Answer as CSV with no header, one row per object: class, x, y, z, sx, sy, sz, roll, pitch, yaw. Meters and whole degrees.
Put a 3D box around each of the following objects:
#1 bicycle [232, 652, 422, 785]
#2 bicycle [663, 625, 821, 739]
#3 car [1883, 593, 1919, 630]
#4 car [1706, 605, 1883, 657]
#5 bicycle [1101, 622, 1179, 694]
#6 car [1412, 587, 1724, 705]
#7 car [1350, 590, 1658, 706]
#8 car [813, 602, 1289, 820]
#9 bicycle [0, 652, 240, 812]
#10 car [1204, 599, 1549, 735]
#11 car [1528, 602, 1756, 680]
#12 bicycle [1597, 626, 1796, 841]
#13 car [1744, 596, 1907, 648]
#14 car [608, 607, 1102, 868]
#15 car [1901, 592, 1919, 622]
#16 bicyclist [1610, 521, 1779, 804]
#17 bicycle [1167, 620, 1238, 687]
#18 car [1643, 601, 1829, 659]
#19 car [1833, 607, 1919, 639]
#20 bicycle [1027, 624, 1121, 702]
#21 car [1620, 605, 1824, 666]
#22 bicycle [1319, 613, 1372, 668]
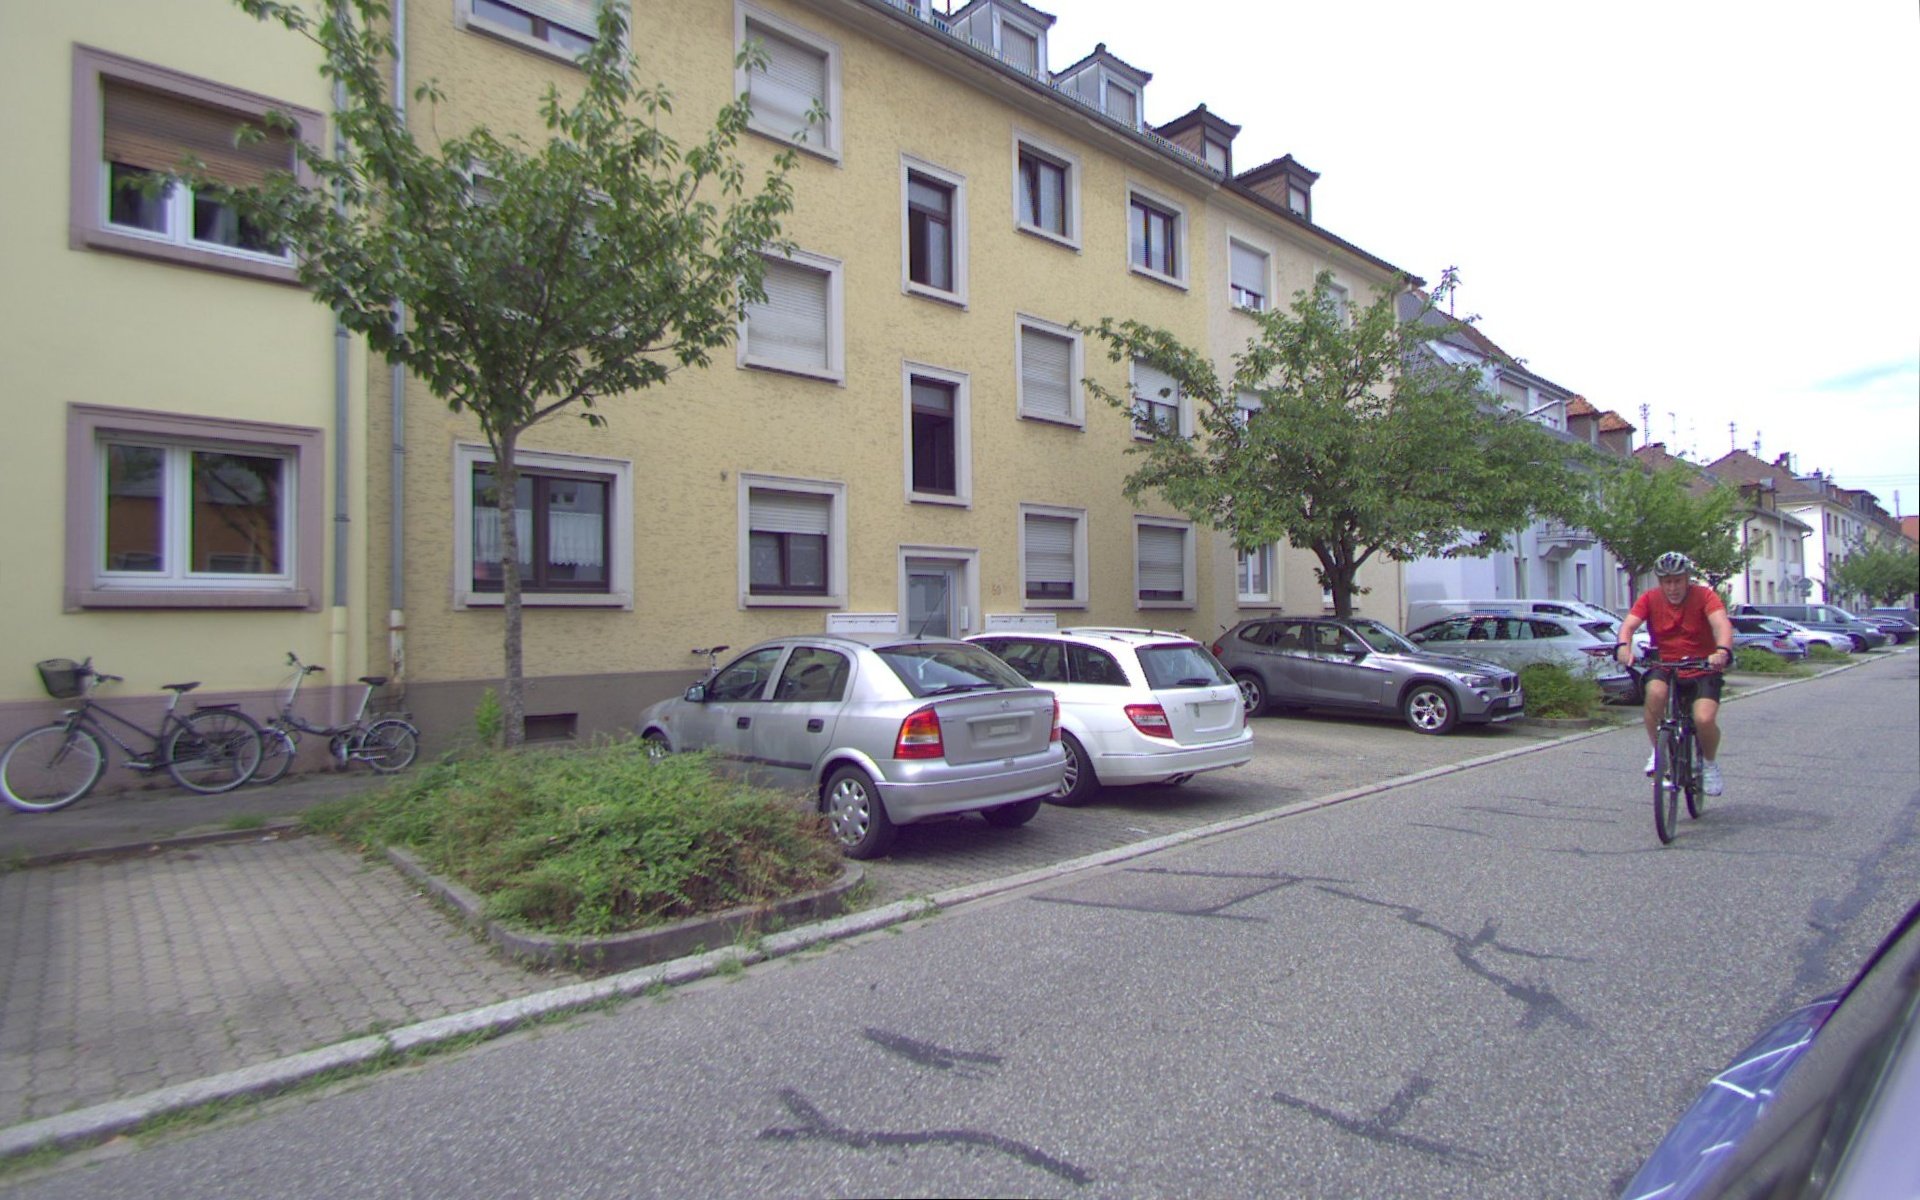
bicycle,-5.808,1.049,9.341,1.430,1.064,0.451,0,1,-44
bicycle,-2.599,0.945,12.209,1.845,1.214,0.586,0,1,-44
car,49.930,0.609,53.248,3.385,1.851,1.643,0,-2,-43
car,28.189,0.990,34.299,1.838,1.556,4.399,0,1,-41
bicycle,3.147,0.978,17.609,1.608,1.154,0.479,0,1,-44
car,11.286,0.727,19.096,1.818,1.934,4.746,0,1,-41
car,9.201,0.712,17.395,1.818,1.705,4.314,1,0,-41
car,0.634,0.826,9.782,1.819,1.529,4.551,0,1,-43
bicycle,-6.869,1.033,8.291,1.543,1.120,0.451,0,1,-44
car,5.892,0.820,14.739,1.818,1.618,4.314,0,1,-41
car,15.677,0.870,23.419,1.682,1.556,4.114,0,1,-42
bicycle,5.101,0.825,6.964,1.904,1.243,0.692,0,-2,-42
car,34.016,0.802,39.886,1.838,1.850,4.715,0,1,-41
car,-1.045,0.816,8.033,1.819,1.432,4.097,0,1,-43
car,55.253,0.404,57.980,3.385,1.698,1.643,0,-2,-43
bicyclist,5.073,0.399,6.986,0.969,1.793,0.693,0,-2,-42
bicycle,4.508,0.966,18.763,1.608,1.154,0.479,0,1,-44
car,24.666,0.894,32.323,1.836,1.632,4.406,0,1,-36
car,44.886,1.124,49.297,1.620,1.466,3.433,1,-2,-45
bicycle,1.858,0.990,16.380,1.727,1.154,0.537,0,1,-44
car,21.460,0.941,28.650,1.682,1.519,4.398,0,1,-42
bicycle,8.604,0.889,22.548,1.608,1.154,0.479,0,1,-44
